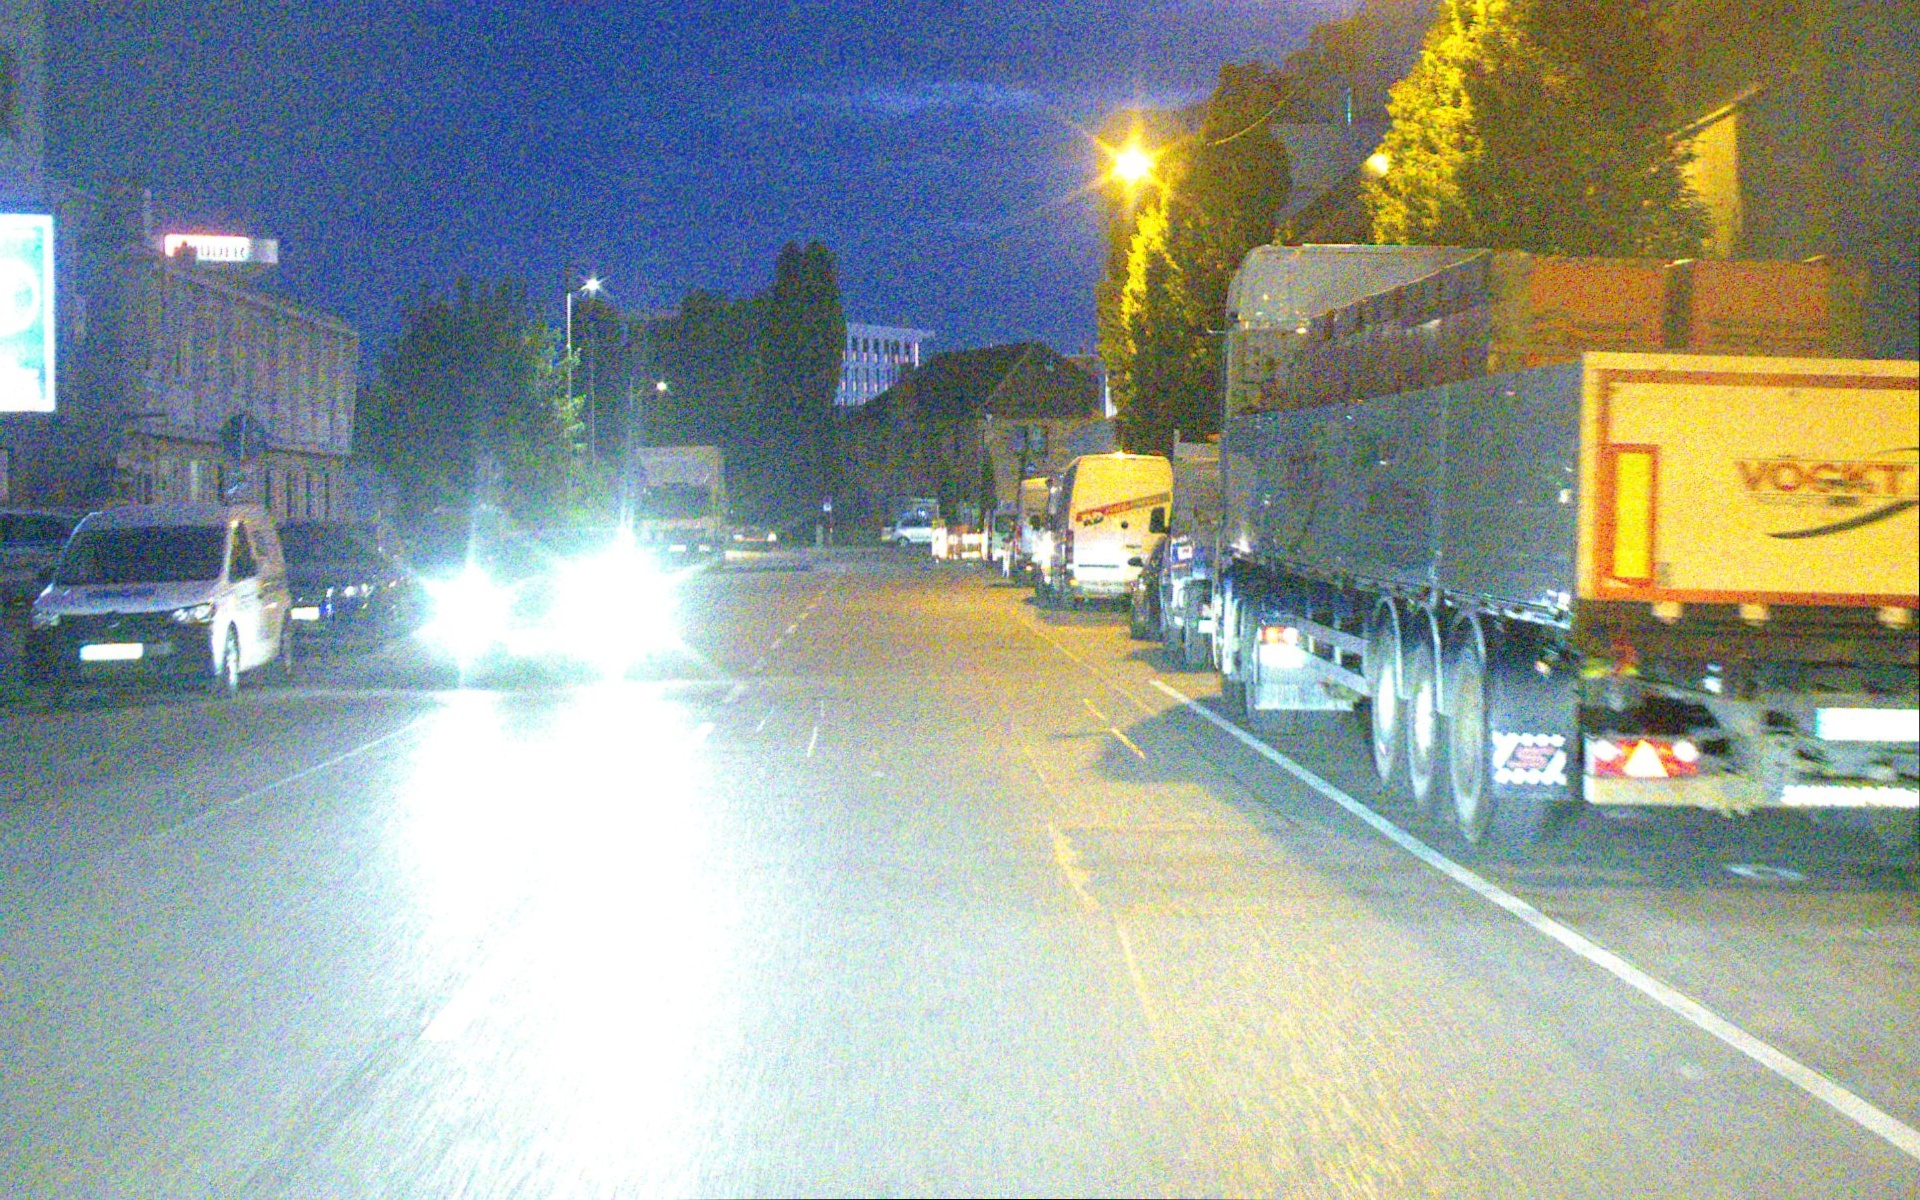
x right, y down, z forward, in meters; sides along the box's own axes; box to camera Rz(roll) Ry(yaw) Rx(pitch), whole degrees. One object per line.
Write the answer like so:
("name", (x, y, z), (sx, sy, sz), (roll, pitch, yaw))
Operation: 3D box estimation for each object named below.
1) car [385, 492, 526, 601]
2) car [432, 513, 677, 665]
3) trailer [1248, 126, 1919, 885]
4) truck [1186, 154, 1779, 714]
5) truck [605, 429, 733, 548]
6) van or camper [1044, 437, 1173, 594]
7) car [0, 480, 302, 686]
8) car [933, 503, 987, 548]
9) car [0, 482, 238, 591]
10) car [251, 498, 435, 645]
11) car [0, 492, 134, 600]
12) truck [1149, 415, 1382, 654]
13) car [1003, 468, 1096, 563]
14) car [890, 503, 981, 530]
("car", (-8.386, -0.927, 57.437), (1.897, 1.730, 4.356), (0, 2, -3))
("car", (-3.946, -0.157, 34.046), (1.993, 1.393, 4.001), (0, 2, -1))
("trailer", (3.646, -0.479, 17.956), (3.184, 2.739, 10.716), (-2, 1, -1))
("truck", (3.529, -1.118, 25.086), (3.151, 3.451, 6.674), (-2, 1, -1))
("truck", (-9.286, -3.529, 108.849), (3.889, 3.609, 8.262), (0, 2, -6))
("van or camper", (2.500, -1.466, 58.991), (1.993, 2.572, 4.915), (0, 2, 0))
("car", (-7.472, -0.206, 31.907), (1.993, 1.787, 4.001), (0, 2, -1))
("car", (-0.028, -2.822, 129.738), (1.993, 1.678, 4.001), (0, 2, -1))
("car", (-13.522, -0.989, 53.634), (3.986, 1.589, 2.000), (-2, 1, -27))
("car", (-7.626, -0.401, 42.817), (1.678, 1.730, 4.356), (0, 2, -3))
("car", (-14.089, -0.761, 48.202), (4.612, 1.480, 2.001), (-1, 2, -23))
("truck", (3.223, -0.734, 37.267), (1.993, 2.399, 5.293), (0, 2, -1))
("car", (2.039, -1.959, 79.385), (1.993, 2.138, 4.001), (0, 2, -1))
("car", (-1.230, -4.222, 174.248), (4.531, 1.375, 2.000), (0, 1, 3))
